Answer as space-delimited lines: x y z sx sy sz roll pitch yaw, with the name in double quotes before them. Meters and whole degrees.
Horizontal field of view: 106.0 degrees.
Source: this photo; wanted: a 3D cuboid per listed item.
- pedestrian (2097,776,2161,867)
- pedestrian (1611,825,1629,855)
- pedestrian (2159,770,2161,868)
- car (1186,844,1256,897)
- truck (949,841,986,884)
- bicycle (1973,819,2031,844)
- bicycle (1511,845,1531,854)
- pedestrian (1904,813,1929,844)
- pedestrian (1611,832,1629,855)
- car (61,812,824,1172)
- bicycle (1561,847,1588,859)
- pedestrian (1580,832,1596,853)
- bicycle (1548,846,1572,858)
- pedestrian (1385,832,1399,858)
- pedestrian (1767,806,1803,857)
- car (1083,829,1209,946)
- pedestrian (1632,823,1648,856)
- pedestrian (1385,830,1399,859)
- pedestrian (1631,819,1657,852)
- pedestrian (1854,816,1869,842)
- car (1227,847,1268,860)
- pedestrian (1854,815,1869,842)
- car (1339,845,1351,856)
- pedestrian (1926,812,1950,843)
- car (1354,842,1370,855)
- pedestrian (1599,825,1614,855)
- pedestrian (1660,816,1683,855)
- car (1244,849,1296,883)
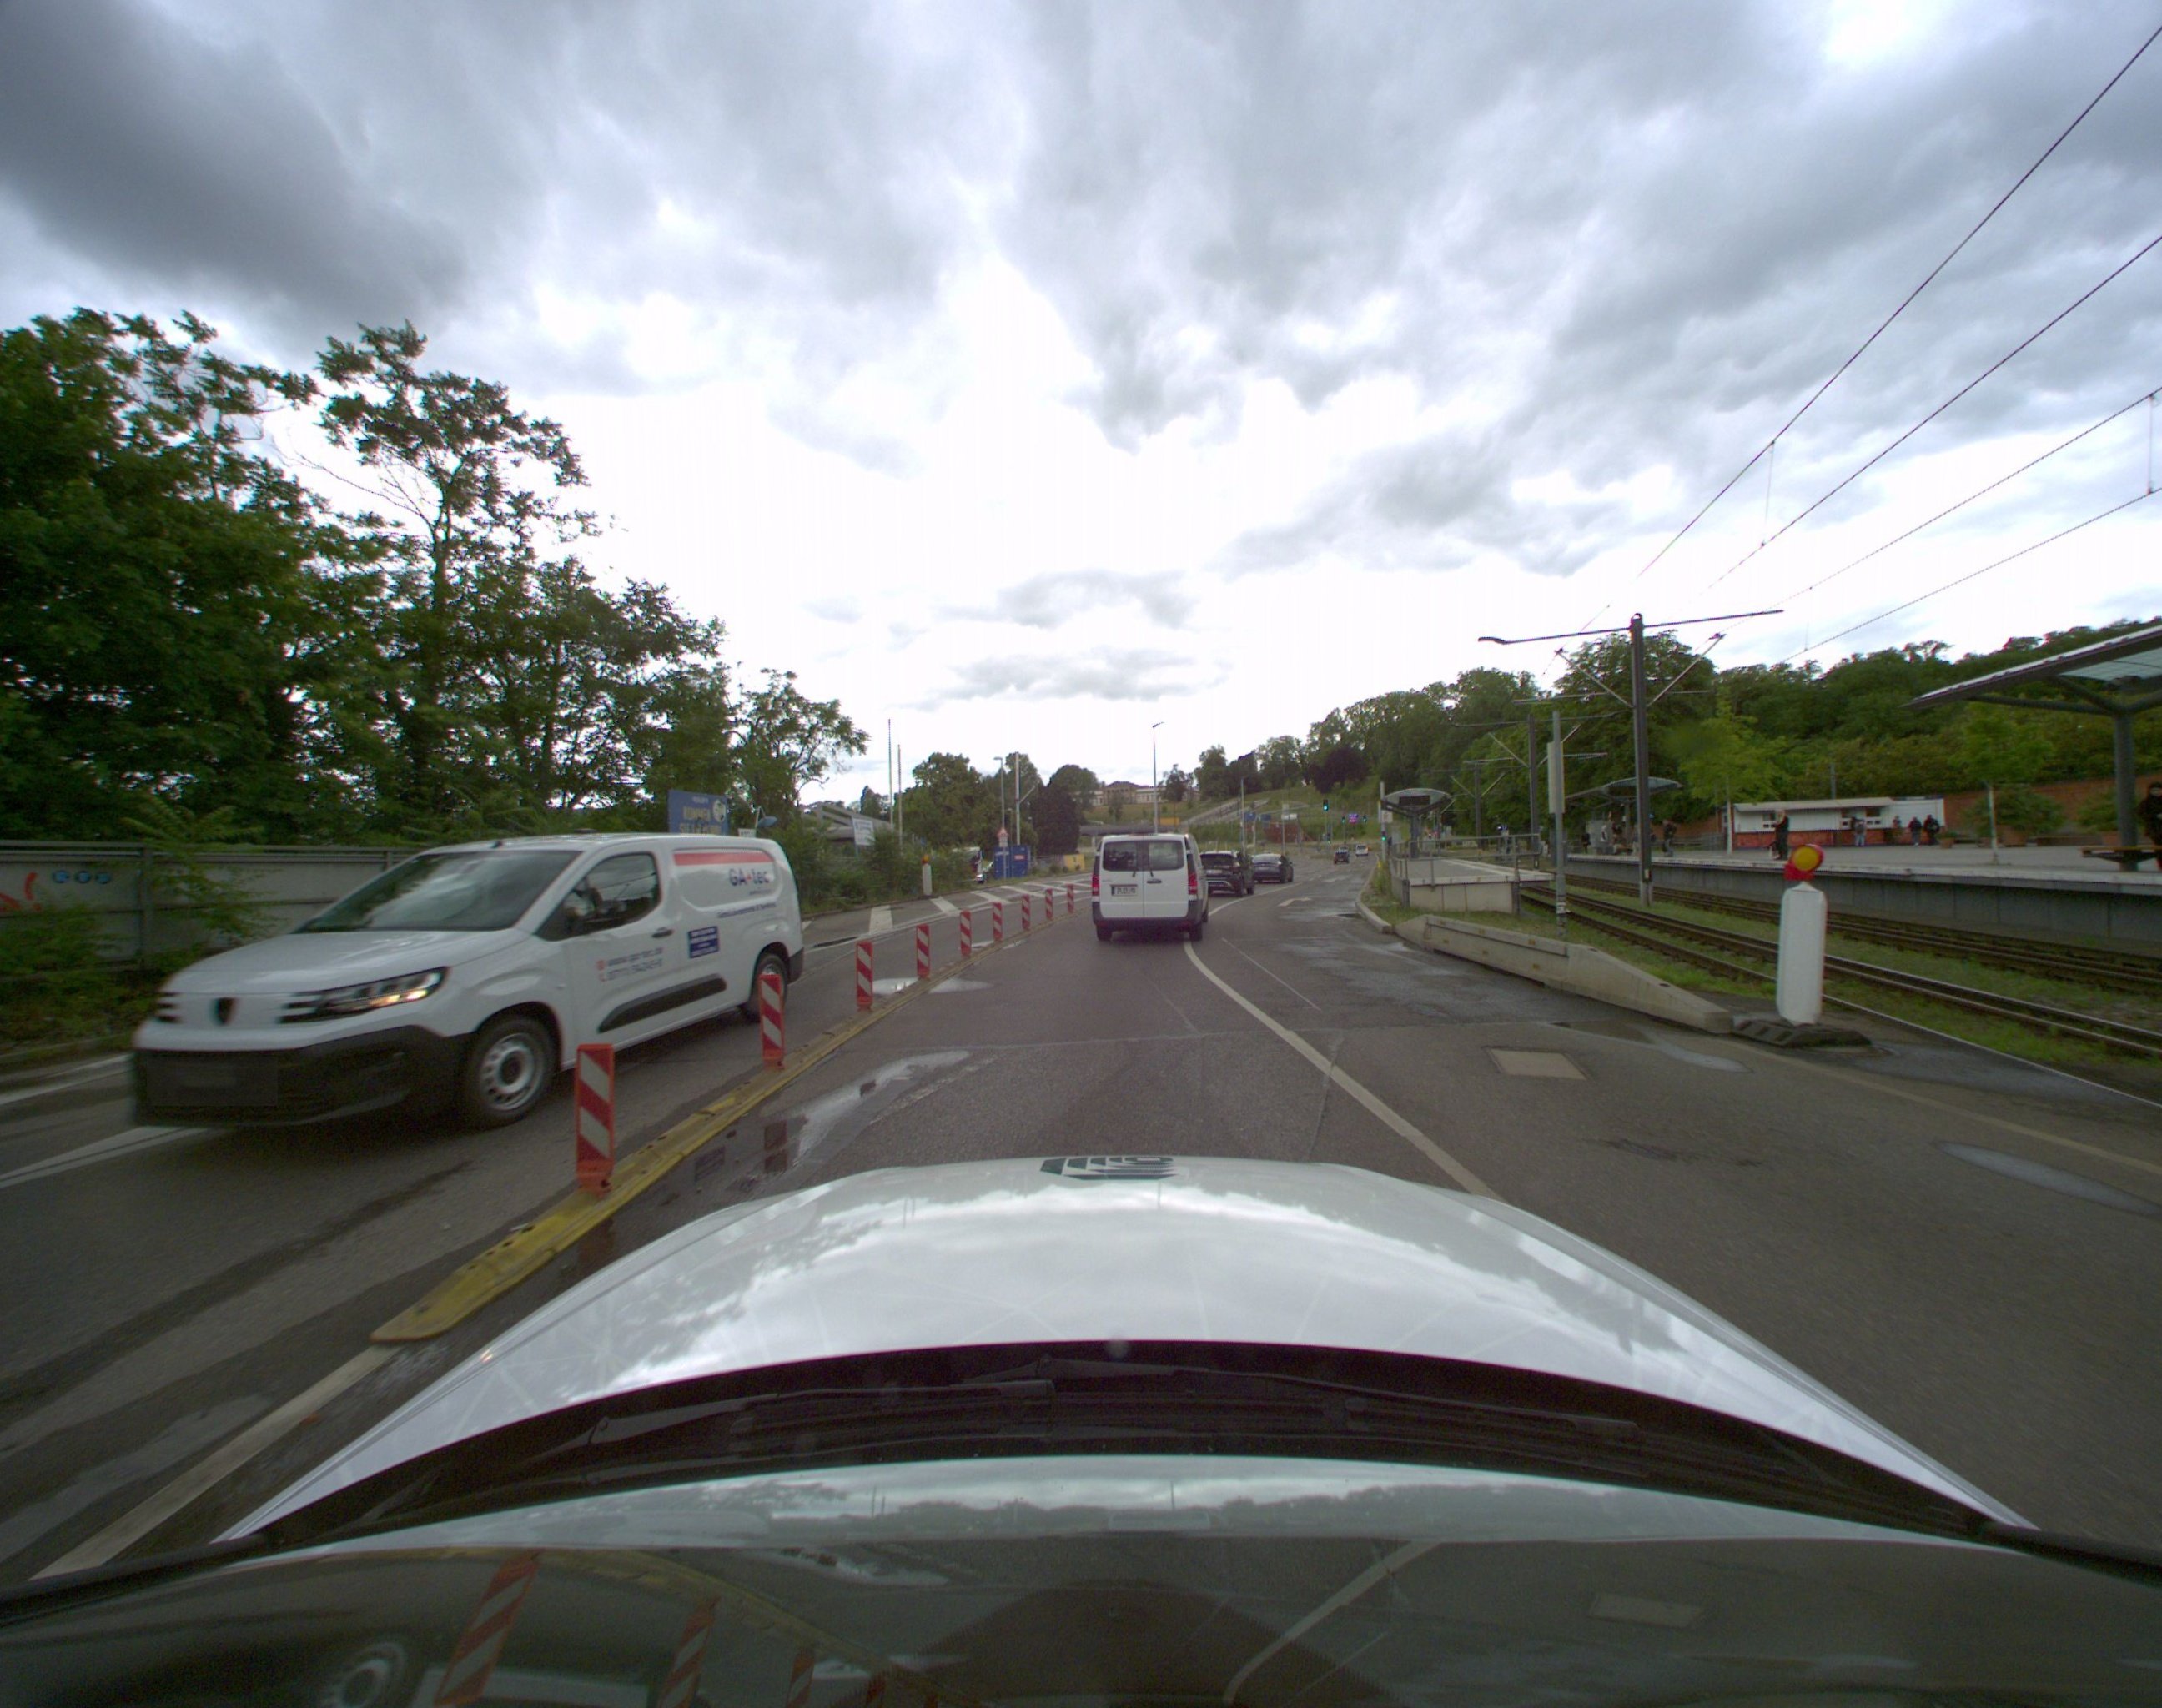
"pedestrian" 18.607 -0.551 14.229 0.757 1.542 0.786 1 0 -2
"pedestrian" 30.487 -0.783 46.043 0.668 1.677 0.680 1 0 17
"pedestrian" 18.324 -0.584 13.398 0.481 1.660 0.632 1 0 29
"car" 4.979 0.524 28.489 1.823 1.729 4.081 0 0 18
"truck" -9.673 0.713 70.233 2.790 3.336 8.458 -3 0 -7
"bicycle" 41.308 -1.003 36.545 0.562 1.061 1.710 1 0 -10
"bicycle" 49.948 -0.479 92.388 1.896 0.975 0.533 -3 0 21
"pedestrian" 43.306 -1.311 42.223 0.651 1.583 0.623 1 0 7
"pedestrian" 28.301 -0.552 42.763 0.652 1.191 0.679 1 0 22
"car" -4.033 0.664 6.490 1.853 1.782 4.759 -2 1 8
"bicycle" 40.463 -0.060 66.810 1.857 0.963 0.535 1 0 21
"pedestrian" 32.070 -0.708 51.534 0.668 1.323 0.973 1 0 19
"bicycle" 42.036 -0.180 71.447 1.748 1.033 0.486 1 0 21
"pedestrian" 18.758 -0.569 49.129 0.744 1.553 0.779 1 2 22
"pedestrian" 23.371 -0.736 27.041 0.627 1.687 0.870 1 0 20
"car" 1.401 0.531 15.537 1.947 1.903 4.474 0 0 10
"pedestrian" 28.161 -0.726 41.017 0.520 1.620 0.679 1 0 22
"pedestrian" 18.461 -0.548 48.383 0.764 1.699 0.735 1 2 22
"pedestrian" 28.998 -0.950 41.932 0.854 1.677 0.764 1 0 11
"pedestrian" 43.897 -1.402 45.822 0.481 1.487 0.462 1 0 23
"car" 21.551 -0.099 105.576 4.664 1.477 2.013 -3 0 31
"pedestrian" 44.304 -1.424 46.210 0.481 1.535 0.462 1 0 23
"car" 43.781 -0.635 134.906 1.739 1.772 4.017 1 0 16
"pedestrian" 43.877 -1.366 41.703 0.580 1.583 0.624 1 0 8
"car" 46.054 -0.858 133.603 2.184 2.013 5.173 -1 0 16
"pedestrian" 29.797 -0.786 46.213 0.539 1.677 0.679 1 0 17
"pedestrian" 27.636 -0.859 38.122 0.627 1.838 0.955 1 0 22
"car" 9.497 0.558 40.676 1.822 1.582 4.085 0 0 23
